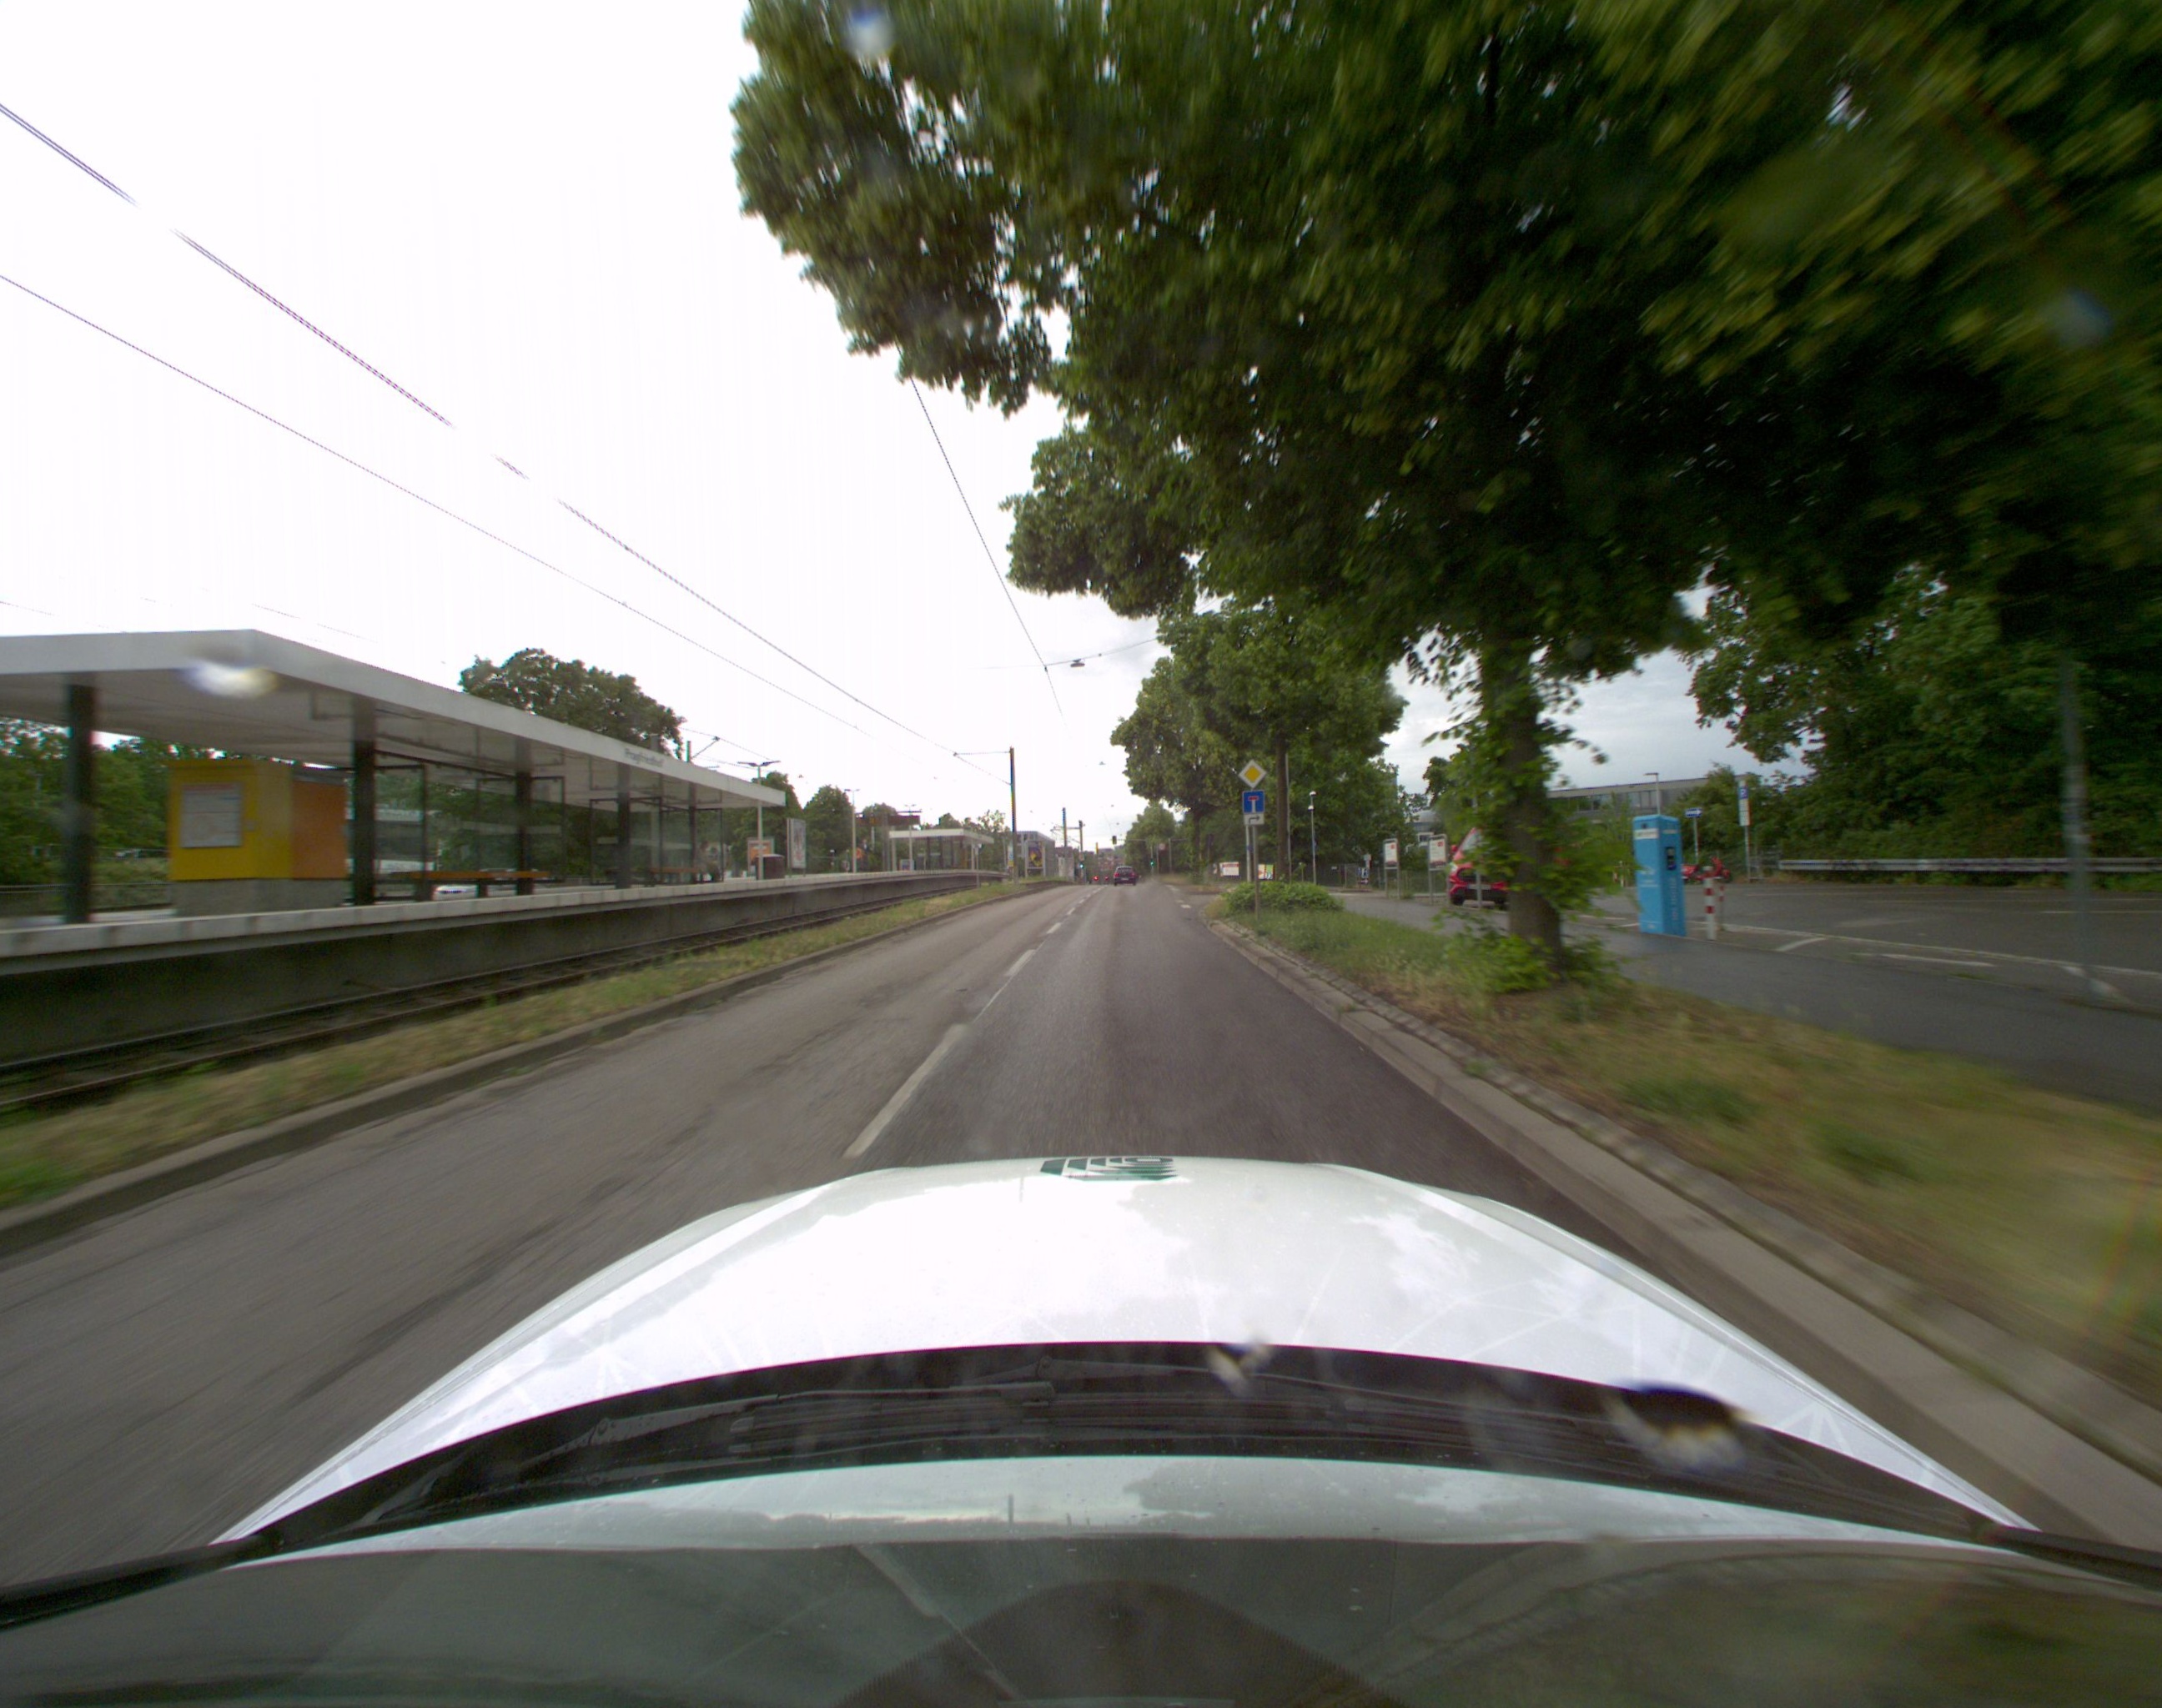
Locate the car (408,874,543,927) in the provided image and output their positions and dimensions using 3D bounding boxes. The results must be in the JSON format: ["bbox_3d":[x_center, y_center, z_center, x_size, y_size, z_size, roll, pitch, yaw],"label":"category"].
[{"bbox_3d":[-24.262,1.797,32.882,1.986,1.876,4.519,-1,-1,1],"label":"car"}]

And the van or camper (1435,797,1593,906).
[{"bbox_3d":[11.059,0.001,20.566,2.016,2.406,5.422,2,0,44],"label":"van or camper"}]

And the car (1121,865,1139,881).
[{"bbox_3d":[5.023,1.968,84.349,1.681,1.517,4.002,-2,0,2],"label":"car"}]

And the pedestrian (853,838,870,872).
[{"bbox_3d":[-11.064,0.043,41.065,0.797,1.647,0.913,0,1,-19],"label":"pedestrian"}]

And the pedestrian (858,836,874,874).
[{"bbox_3d":[-11.119,0.048,42.043,0.745,1.909,0.837,0,1,-19],"label":"pedestrian"}]

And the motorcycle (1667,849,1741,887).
[{"bbox_3d":[22.397,0.510,29.305,1.998,1.214,0.476,-6,-9,41],"label":"motorcycle"}]

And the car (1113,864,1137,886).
[{"bbox_3d":[3.307,1.558,61.668,1.720,1.540,4.002,-2,0,2],"label":"car"}]

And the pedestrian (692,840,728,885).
[{"bbox_3d":[-10.499,0.237,23.034,0.708,1.225,0.620,-1,-1,2],"label":"pedestrian"}]
